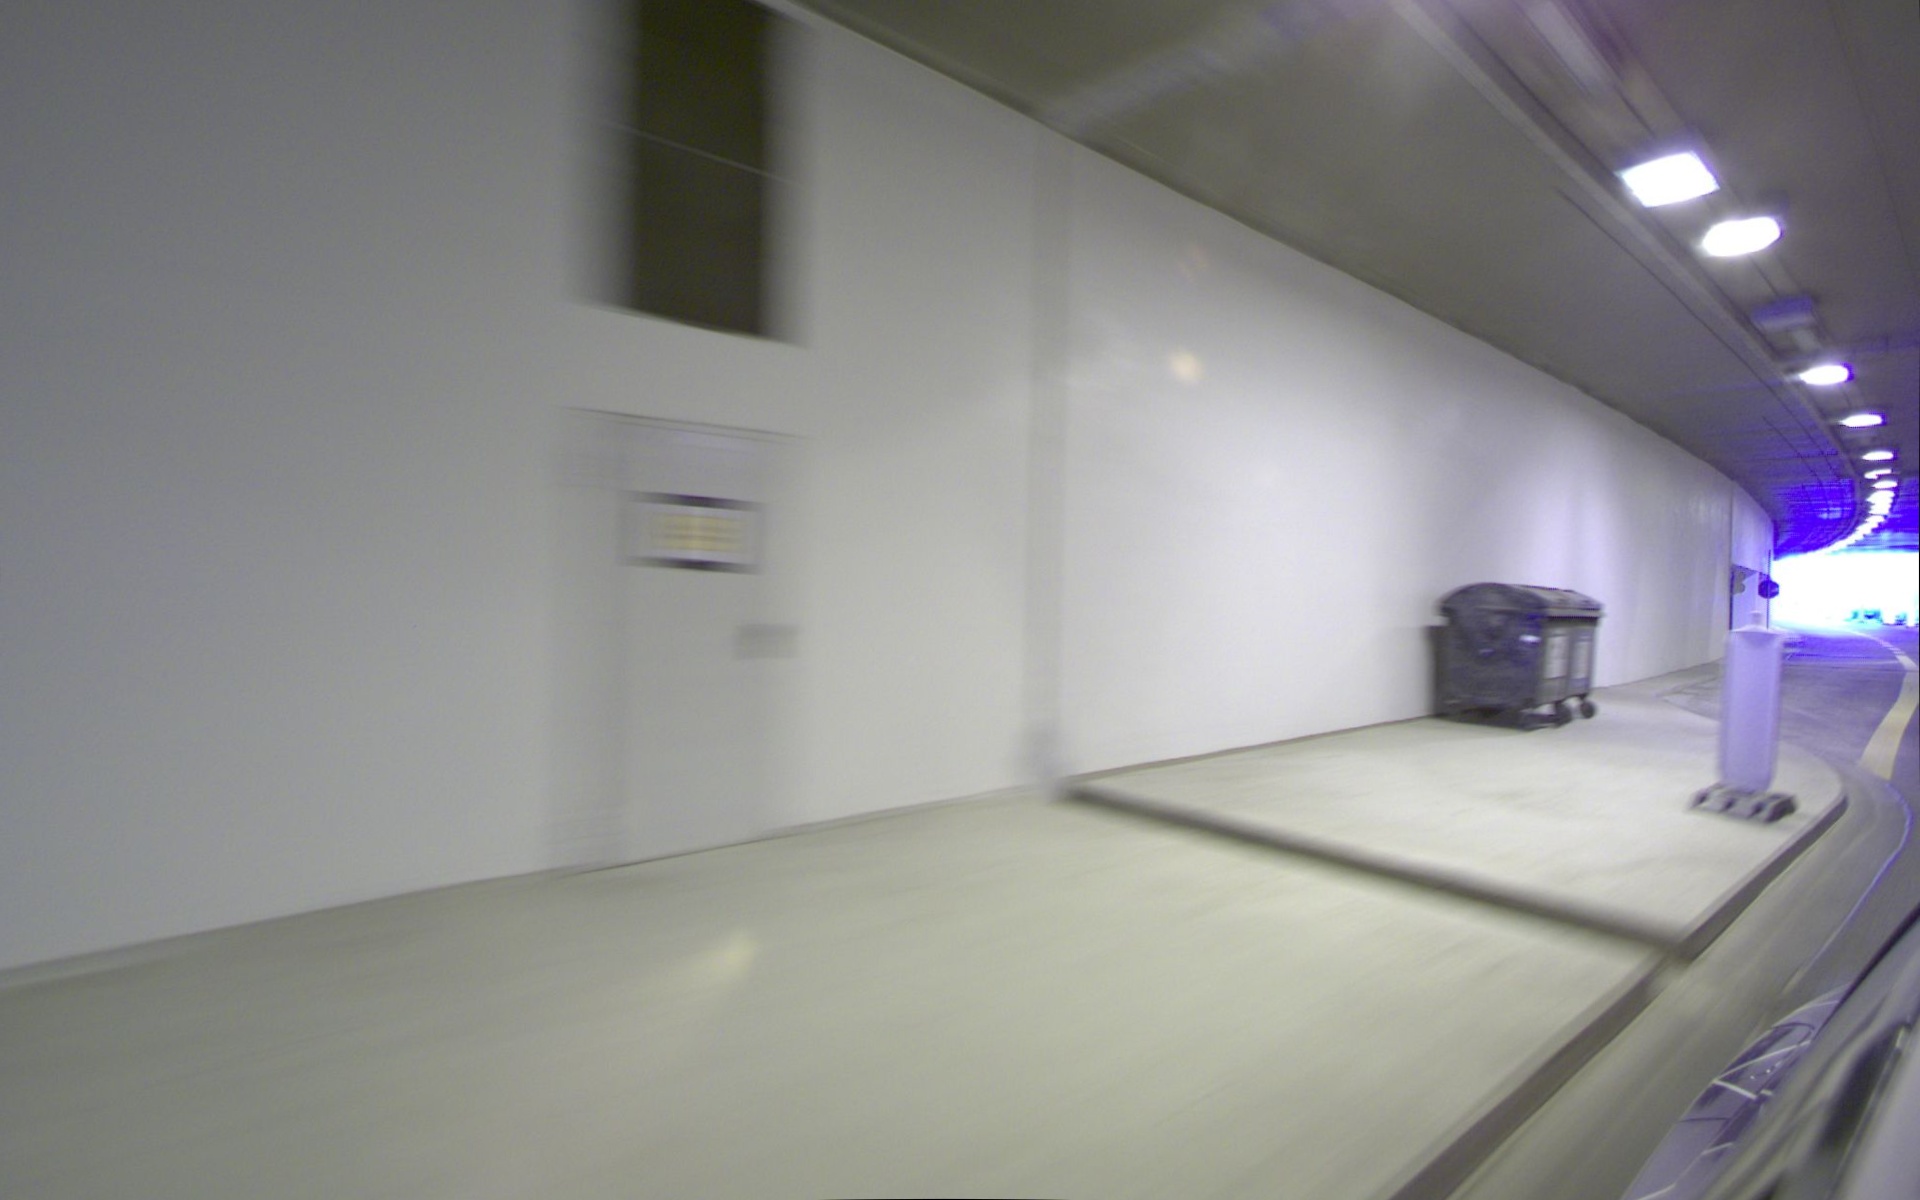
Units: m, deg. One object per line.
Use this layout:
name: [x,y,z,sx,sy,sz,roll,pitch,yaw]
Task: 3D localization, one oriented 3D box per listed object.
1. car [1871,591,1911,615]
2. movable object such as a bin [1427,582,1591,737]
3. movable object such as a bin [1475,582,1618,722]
car: [72.159,0.223,78.501,1.990,1.775,3.945,1,1,39]
movable object such as a bin: [5.685,0.548,10.467,1.341,1.463,1.146,-1,1,-44]
movable object such as a bin: [6.648,0.530,11.467,1.300,1.463,1.098,-1,1,-44]
